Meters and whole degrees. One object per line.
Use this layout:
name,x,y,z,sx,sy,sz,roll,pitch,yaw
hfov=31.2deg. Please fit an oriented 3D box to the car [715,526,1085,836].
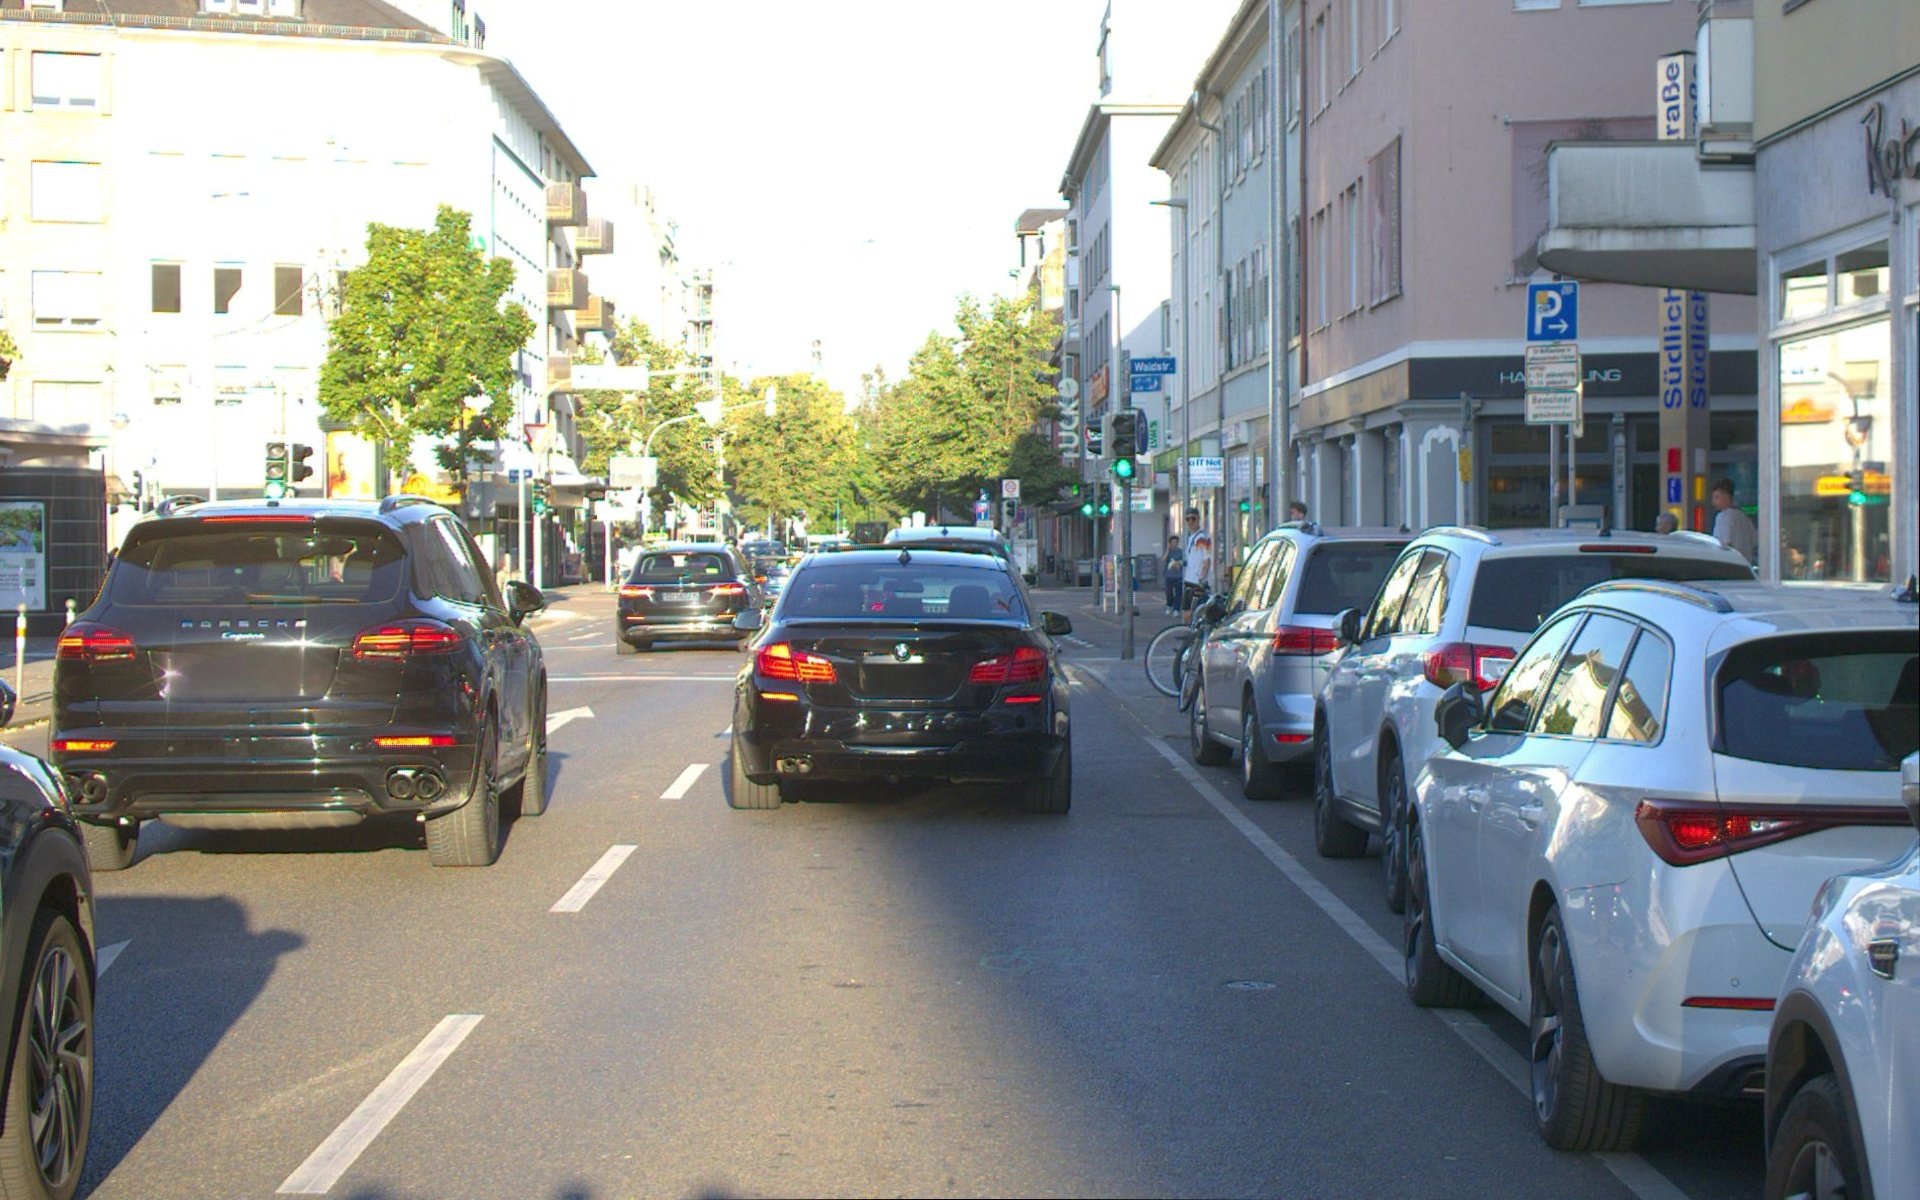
car,-0.358,0.394,19.976,1.896,1.575,4.000,1,1,-1

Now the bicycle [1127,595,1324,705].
bicycle,2.418,0.450,31.339,1.766,0.963,0.490,1,1,5

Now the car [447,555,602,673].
car,-6.041,0.165,48.056,1.779,1.542,4.000,0,1,-2

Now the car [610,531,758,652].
car,-3.663,-0.148,46.178,1.779,1.542,4.000,0,1,-2

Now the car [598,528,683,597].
car,-7.663,-0.927,82.822,1.691,1.547,3.951,-2,1,-1

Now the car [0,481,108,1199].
car,-2.873,0.593,5.883,1.896,1.644,4.105,0,1,-1

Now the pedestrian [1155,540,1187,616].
pedestrian,4.322,-0.452,70.423,0.632,1.528,0.702,1,1,2

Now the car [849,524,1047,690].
car,-0.164,0.034,35.618,1.896,1.575,4.000,1,1,-1

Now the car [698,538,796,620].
car,-4.113,-0.429,66.827,1.779,1.542,4.000,0,1,-2

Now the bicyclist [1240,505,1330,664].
bicyclist,3.664,-0.184,38.727,0.832,1.771,0.608,1,1,26

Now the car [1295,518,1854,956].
car,2.569,0.517,15.243,1.730,1.646,3.829,2,0,0

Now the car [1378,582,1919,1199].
car,2.316,0.702,9.735,1.730,1.445,4.312,2,0,0

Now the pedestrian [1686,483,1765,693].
pedestrian,6.663,-0.106,29.928,0.507,1.805,0.573,0,1,-4

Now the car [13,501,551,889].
car,-3.127,0.372,16.673,1.896,1.644,4.105,0,1,-1

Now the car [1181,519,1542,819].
car,2.402,0.375,21.463,1.730,1.646,3.970,2,0,0

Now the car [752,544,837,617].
car,-3.617,-0.456,75.708,1.779,1.542,4.000,0,1,-2

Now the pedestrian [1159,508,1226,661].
pedestrian,2.765,-0.187,40.910,0.699,1.805,0.635,0,1,-4

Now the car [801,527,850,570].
car,-4.927,-1.915,126.371,1.779,1.542,4.000,0,1,-2

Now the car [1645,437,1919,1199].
car,2.112,0.638,3.973,1.729,1.645,4.284,2,0,0

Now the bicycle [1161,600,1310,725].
bicycle,2.270,0.501,28.517,0.488,0.963,1.772,0,1,-22

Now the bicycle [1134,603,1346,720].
bicycle,2.429,0.525,29.857,1.768,0.963,0.490,1,1,24
